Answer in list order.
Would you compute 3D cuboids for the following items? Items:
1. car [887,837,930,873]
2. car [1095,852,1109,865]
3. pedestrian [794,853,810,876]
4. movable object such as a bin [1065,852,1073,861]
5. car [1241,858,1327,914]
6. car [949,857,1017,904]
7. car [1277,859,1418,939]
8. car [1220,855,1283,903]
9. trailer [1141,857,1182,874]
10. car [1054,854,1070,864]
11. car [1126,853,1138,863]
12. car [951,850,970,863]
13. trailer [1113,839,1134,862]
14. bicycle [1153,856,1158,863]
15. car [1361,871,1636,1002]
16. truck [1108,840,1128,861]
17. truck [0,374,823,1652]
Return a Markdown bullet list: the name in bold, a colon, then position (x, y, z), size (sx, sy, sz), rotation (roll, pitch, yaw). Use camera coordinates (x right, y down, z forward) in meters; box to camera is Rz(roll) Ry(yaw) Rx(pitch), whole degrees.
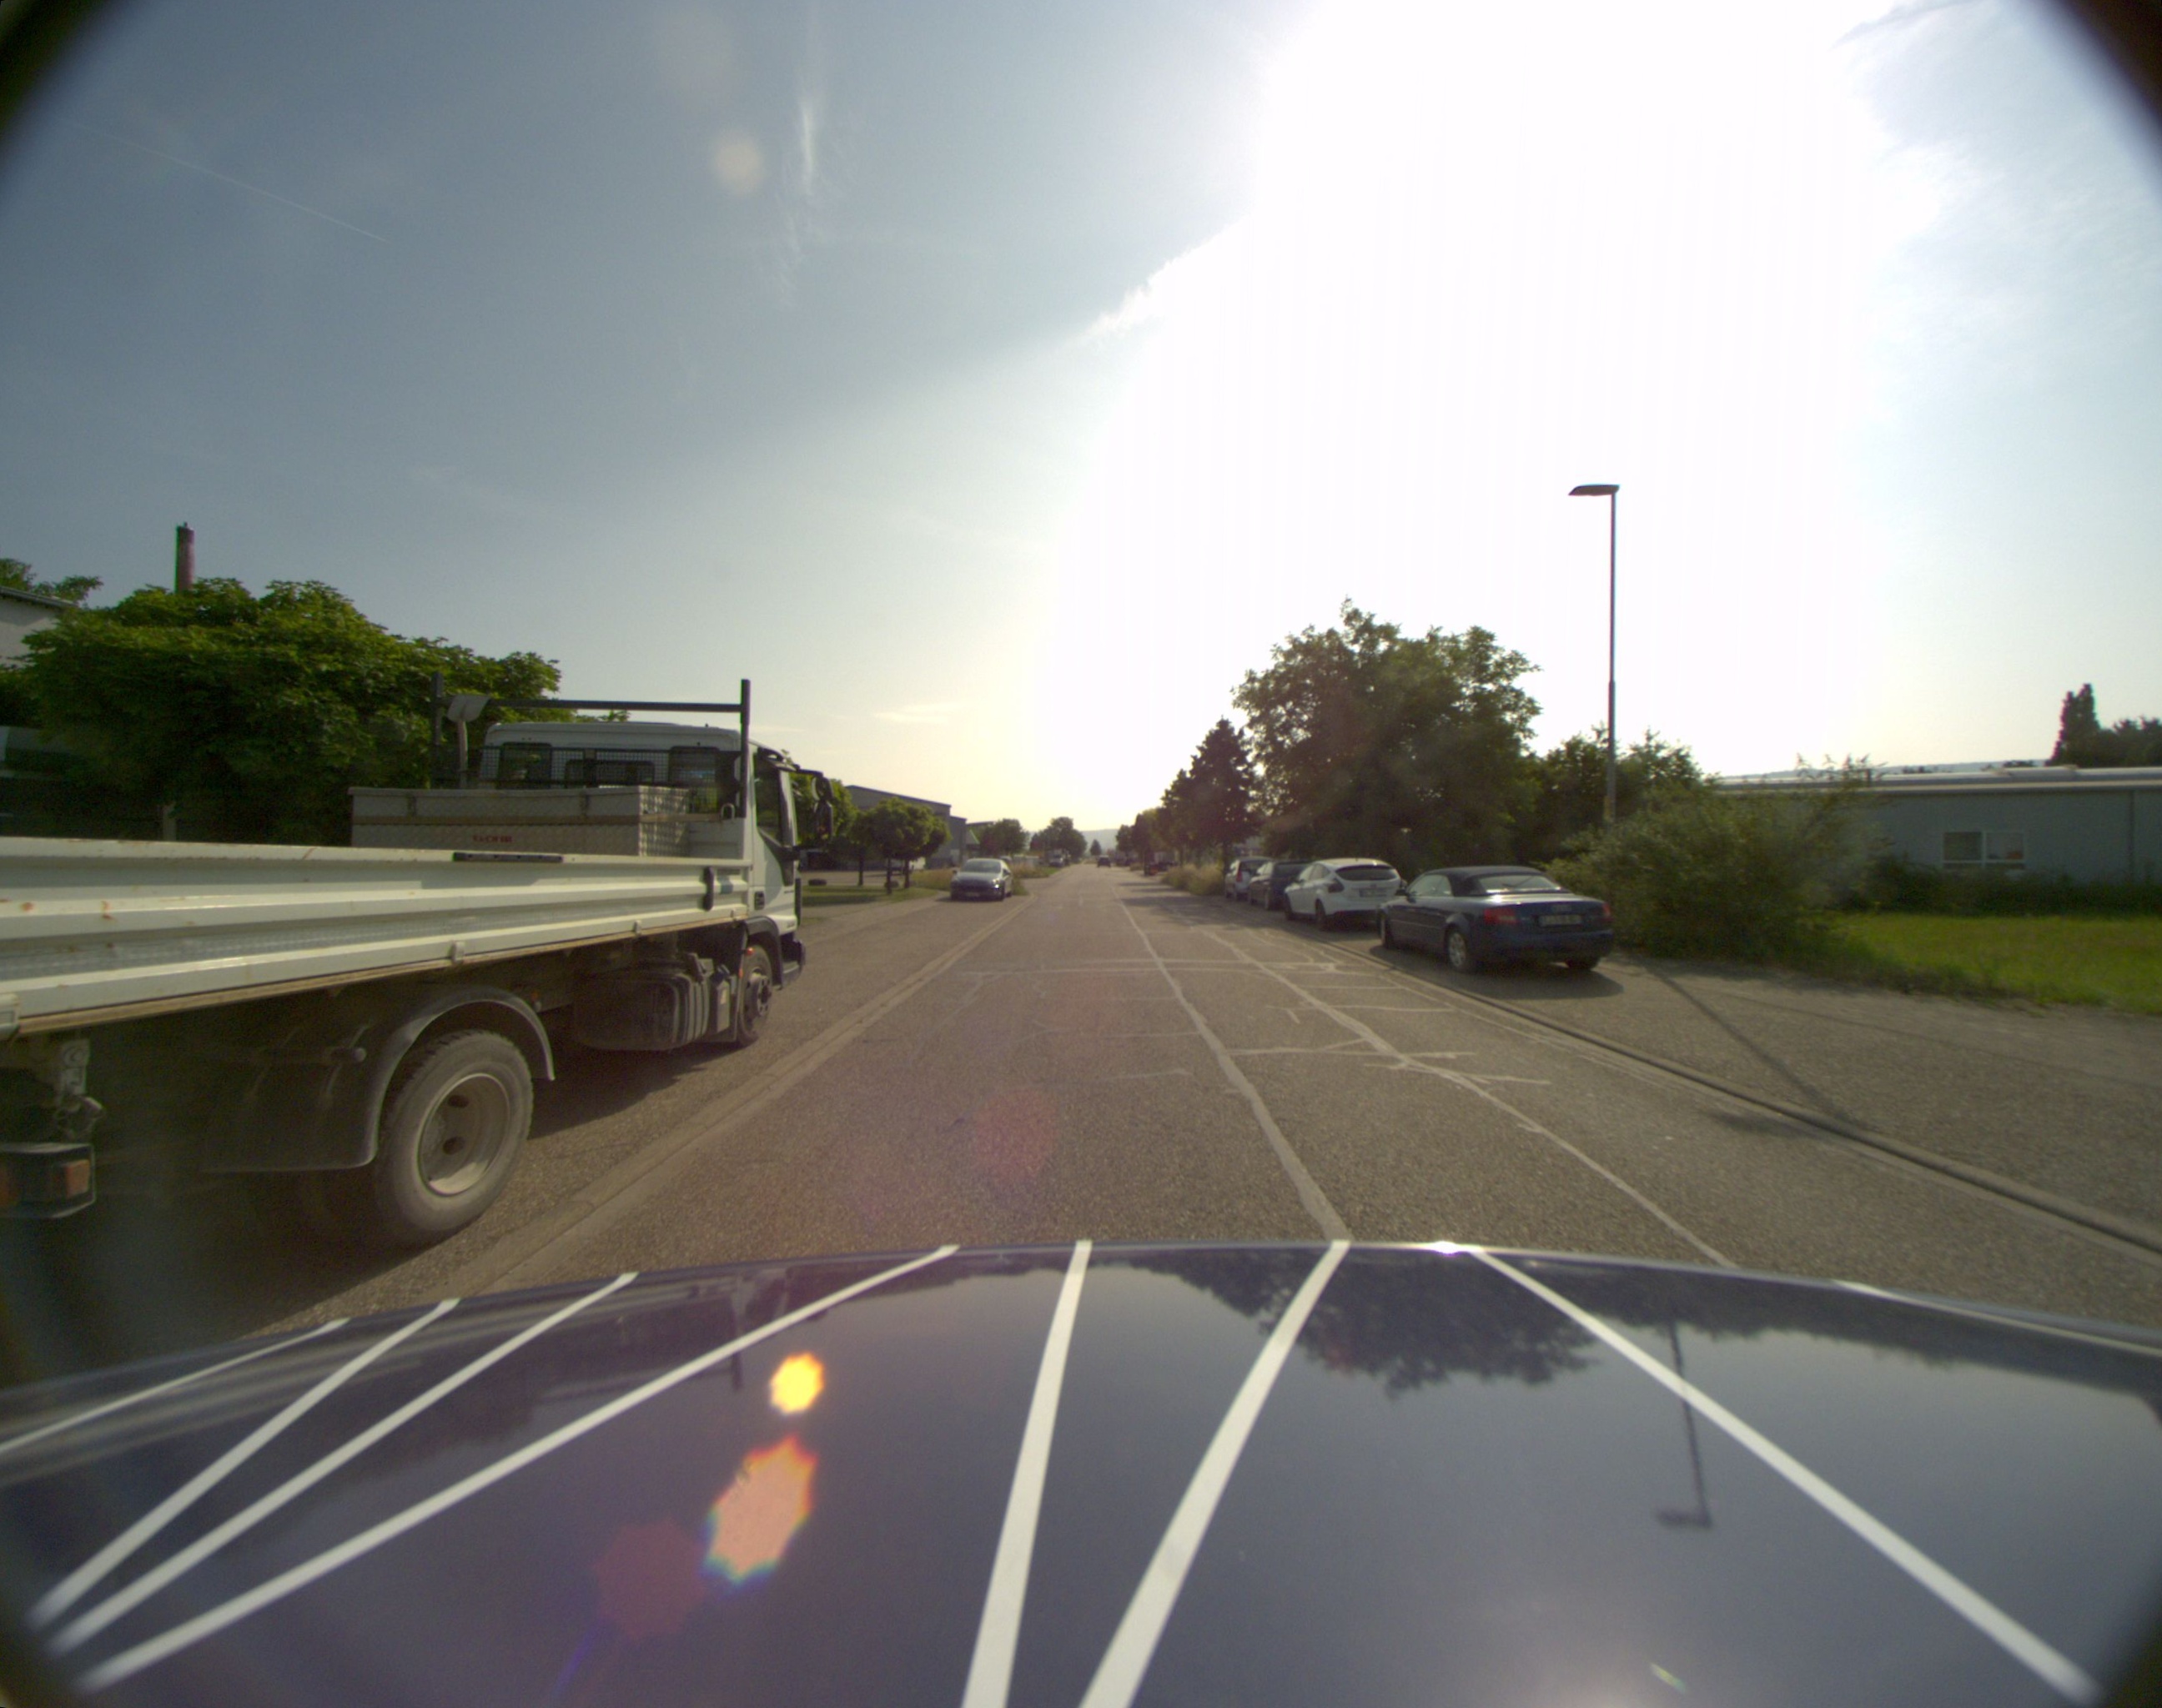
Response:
- **car**: position (-13.614, 0.087, 60.402), size (1.979, 2.690, 5.880), rotation (0, 0, 1)
- **car**: position (3.050, 0.612, 109.154), size (1.860, 1.705, 4.226), rotation (1, 0, 1)
- **pedestrian**: position (-19.404, 0.718, 52.903), size (0.703, 1.630, 0.750), rotation (0, 1, 32)
- **movable object such as a bin**: position (-1.743, 0.360, 112.364), size (1.083, 1.345, 1.506), rotation (2, 0, 4)
- **car**: position (5.949, 0.892, 22.691), size (1.582, 1.435, 3.963), rotation (-2, 0, 1)
- **car**: position (-3.410, 0.885, 27.235), size (1.798, 1.508, 4.424), rotation (1, 0, 1)
- **car**: position (5.736, 0.892, 16.921), size (1.688, 1.461, 4.254), rotation (-2, 0, 1)
- **car**: position (6.004, 0.834, 27.094), size (1.570, 1.529, 3.689), rotation (-2, 0, 4)
- **trailer**: position (6.709, 0.901, 64.751), size (2.589, 1.177, 9.362), rotation (-2, 0, 1)
- **car**: position (-2.659, 0.619, 105.138), size (1.677, 1.360, 4.395), rotation (0, 0, 6)
- **car**: position (7.798, 0.600, 116.994), size (1.691, 1.461, 4.094), rotation (0, 0, 2)
- **car**: position (-15.097, 0.331, 95.160), size (1.641, 1.559, 3.799), rotation (0, 0, -20)
- **trailer**: position (7.632, -0.650, 136.792), size (2.707, 3.862, 9.762), rotation (-2, 0, -3)
- **bicycle**: position (11.341, 0.839, 116.225), size (0.563, 0.967, 2.452), rotation (1, 0, 0)
- **car**: position (5.688, 1.015, 11.075), size (1.637, 1.379, 4.369), rotation (-2, 0, 1)
- **truck**: position (7.095, -0.650, 146.366), size (2.720, 3.862, 9.632), rotation (-2, 0, -3)
- **truck**: position (-3.546, 0.319, 4.049), size (2.366, 2.666, 6.509), rotation (1, 0, -3)
